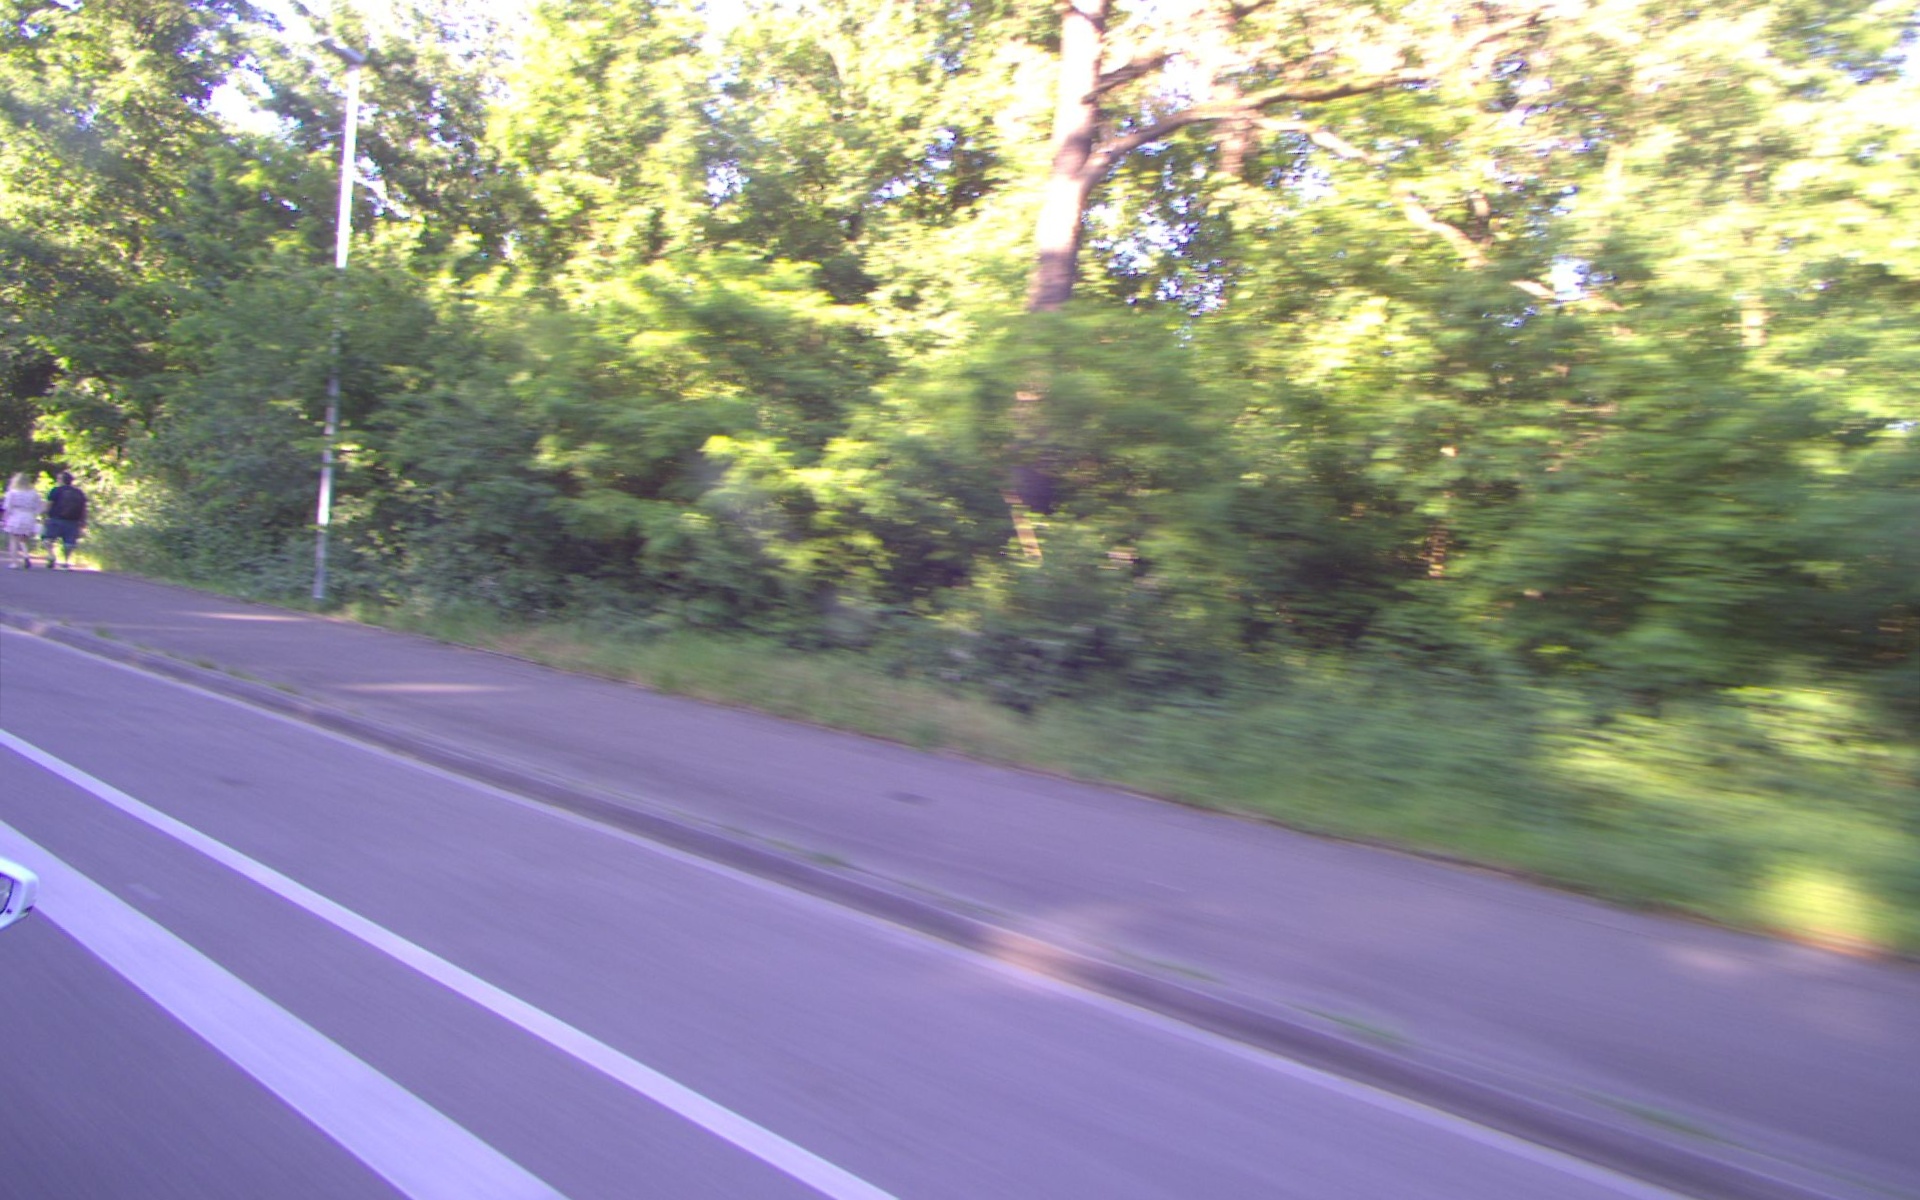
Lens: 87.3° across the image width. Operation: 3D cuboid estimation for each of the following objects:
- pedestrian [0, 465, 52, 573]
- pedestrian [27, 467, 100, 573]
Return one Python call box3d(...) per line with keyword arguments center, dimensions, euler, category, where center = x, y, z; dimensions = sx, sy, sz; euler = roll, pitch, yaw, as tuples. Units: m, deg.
box3d(center=(-16.726, -1.439, 17.826), dimensions=(0.776, 1.823, 0.675), euler=(7, 3, 28), category="pedestrian")
box3d(center=(-16.465, -1.459, 18.477), dimensions=(0.936, 1.823, 0.675), euler=(7, 3, 28), category="pedestrian")
